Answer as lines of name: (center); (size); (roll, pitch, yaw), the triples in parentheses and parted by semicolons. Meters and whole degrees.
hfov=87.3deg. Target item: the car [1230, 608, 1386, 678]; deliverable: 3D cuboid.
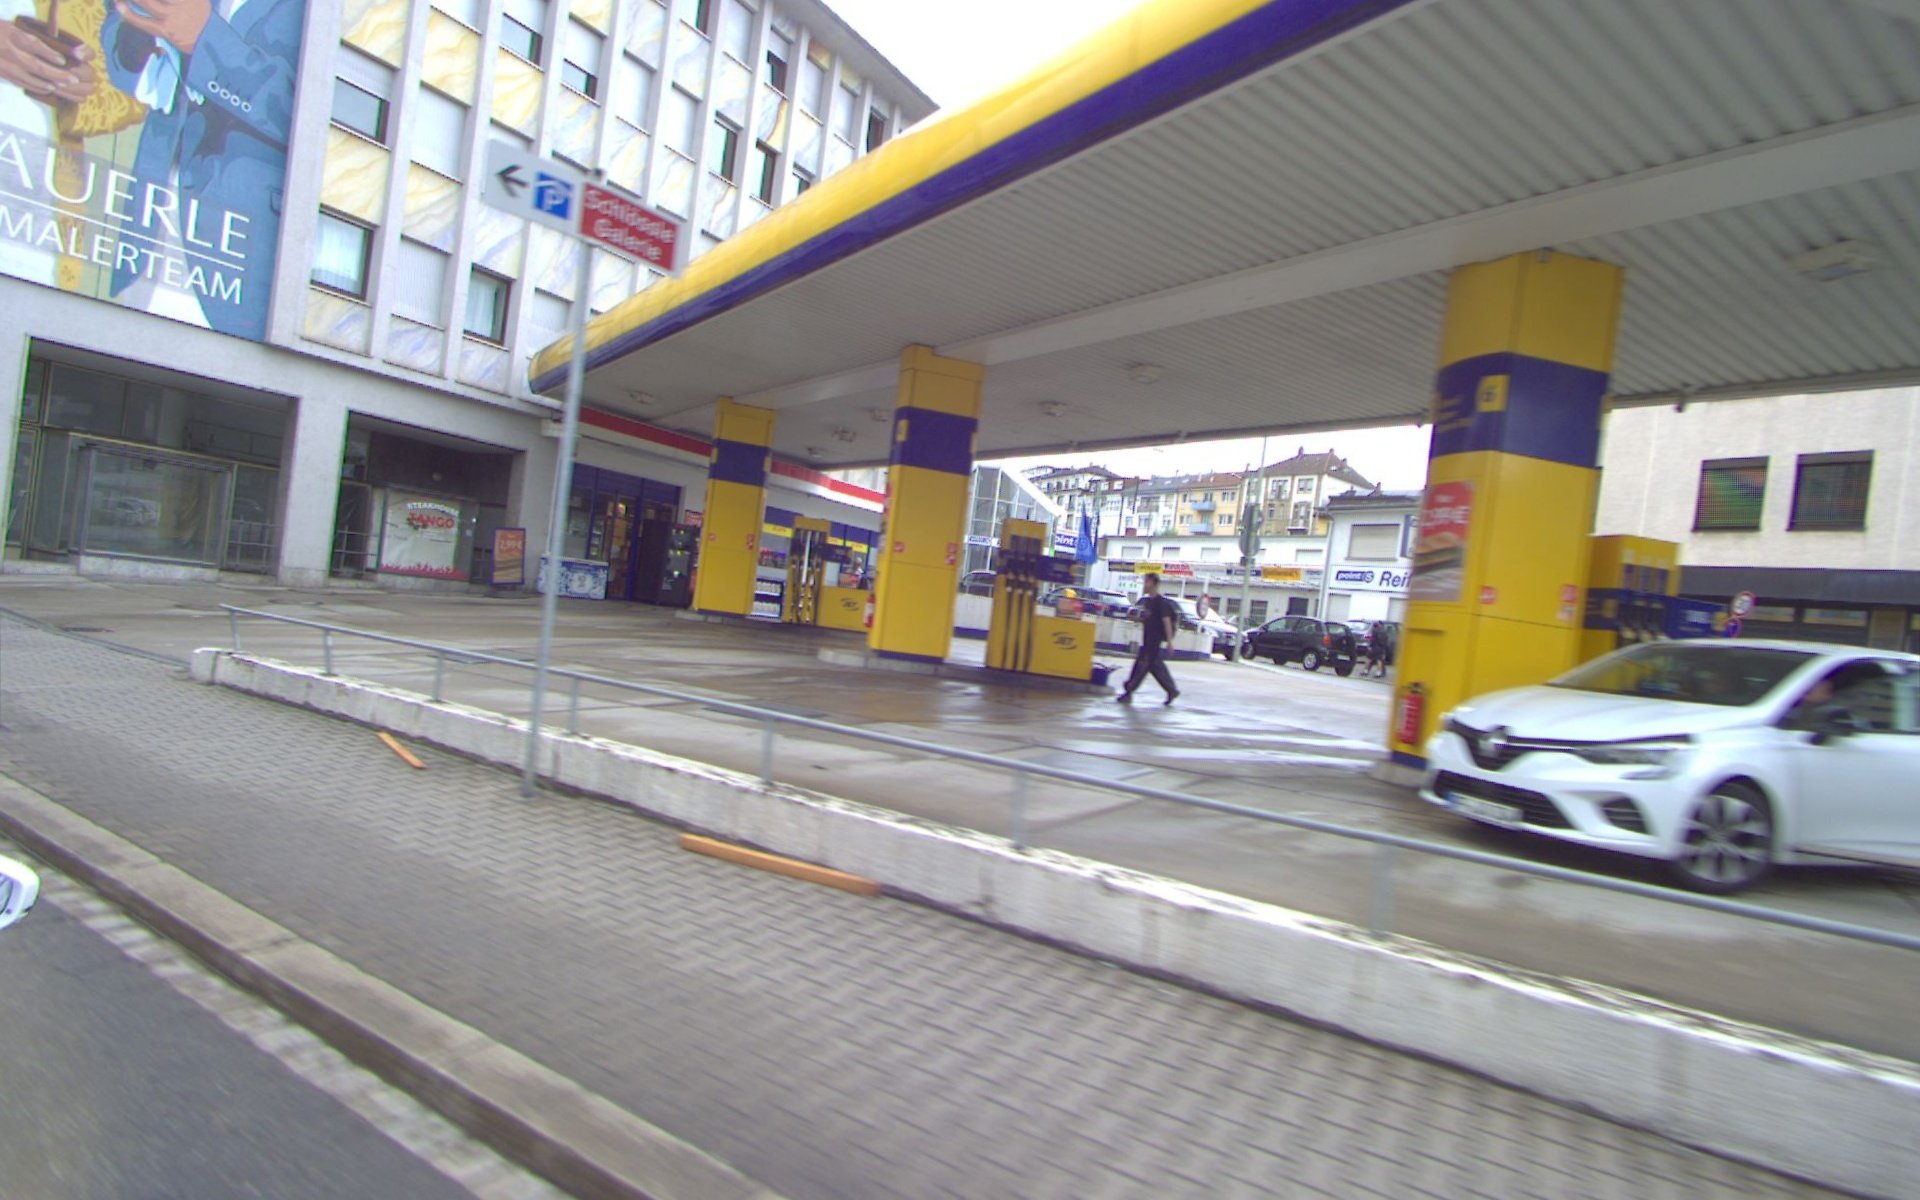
car: (10.218, 1.231, 29.820); (1.866, 1.585, 3.979); (9, -2, -29)

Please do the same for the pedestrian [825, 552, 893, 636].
pedestrian: (-2.336, -0.133, 23.325); (1.267, 1.820, 0.653); (6, 1, 20)

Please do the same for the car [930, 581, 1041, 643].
car: (0.901, 0.407, 38.153); (1.979, 1.886, 4.547); (9, -2, -29)

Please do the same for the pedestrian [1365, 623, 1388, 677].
pedestrian: (12.899, 1.547, 31.147); (0.326, 1.651, 0.326); (8, -1, -16)

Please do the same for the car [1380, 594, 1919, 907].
car: (4.931, 0.903, 6.251); (3.936, 1.460, 1.740); (6, 1, -15)

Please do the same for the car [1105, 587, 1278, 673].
car: (6.339, 0.769, 28.104); (1.979, 1.886, 4.547); (9, -2, -29)

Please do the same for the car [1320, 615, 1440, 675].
car: (15.706, 1.688, 37.584); (3.958, 1.658, 1.986); (9, -2, -29)

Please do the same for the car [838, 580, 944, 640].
car: (-2.208, 0.268, 30.901); (1.972, 1.534, 4.399); (6, -1, -21)

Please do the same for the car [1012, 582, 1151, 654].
car: (3.841, 0.537, 32.653); (1.979, 1.886, 4.547); (9, -2, -29)

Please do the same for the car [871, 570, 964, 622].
car: (-1.884, -0.212, 43.403); (1.979, 1.886, 4.547); (9, -2, -29)

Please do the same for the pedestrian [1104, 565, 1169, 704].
pedestrian: (2.368, 0.448, 13.557); (0.521, 1.795, 0.658); (4, 2, -10)
